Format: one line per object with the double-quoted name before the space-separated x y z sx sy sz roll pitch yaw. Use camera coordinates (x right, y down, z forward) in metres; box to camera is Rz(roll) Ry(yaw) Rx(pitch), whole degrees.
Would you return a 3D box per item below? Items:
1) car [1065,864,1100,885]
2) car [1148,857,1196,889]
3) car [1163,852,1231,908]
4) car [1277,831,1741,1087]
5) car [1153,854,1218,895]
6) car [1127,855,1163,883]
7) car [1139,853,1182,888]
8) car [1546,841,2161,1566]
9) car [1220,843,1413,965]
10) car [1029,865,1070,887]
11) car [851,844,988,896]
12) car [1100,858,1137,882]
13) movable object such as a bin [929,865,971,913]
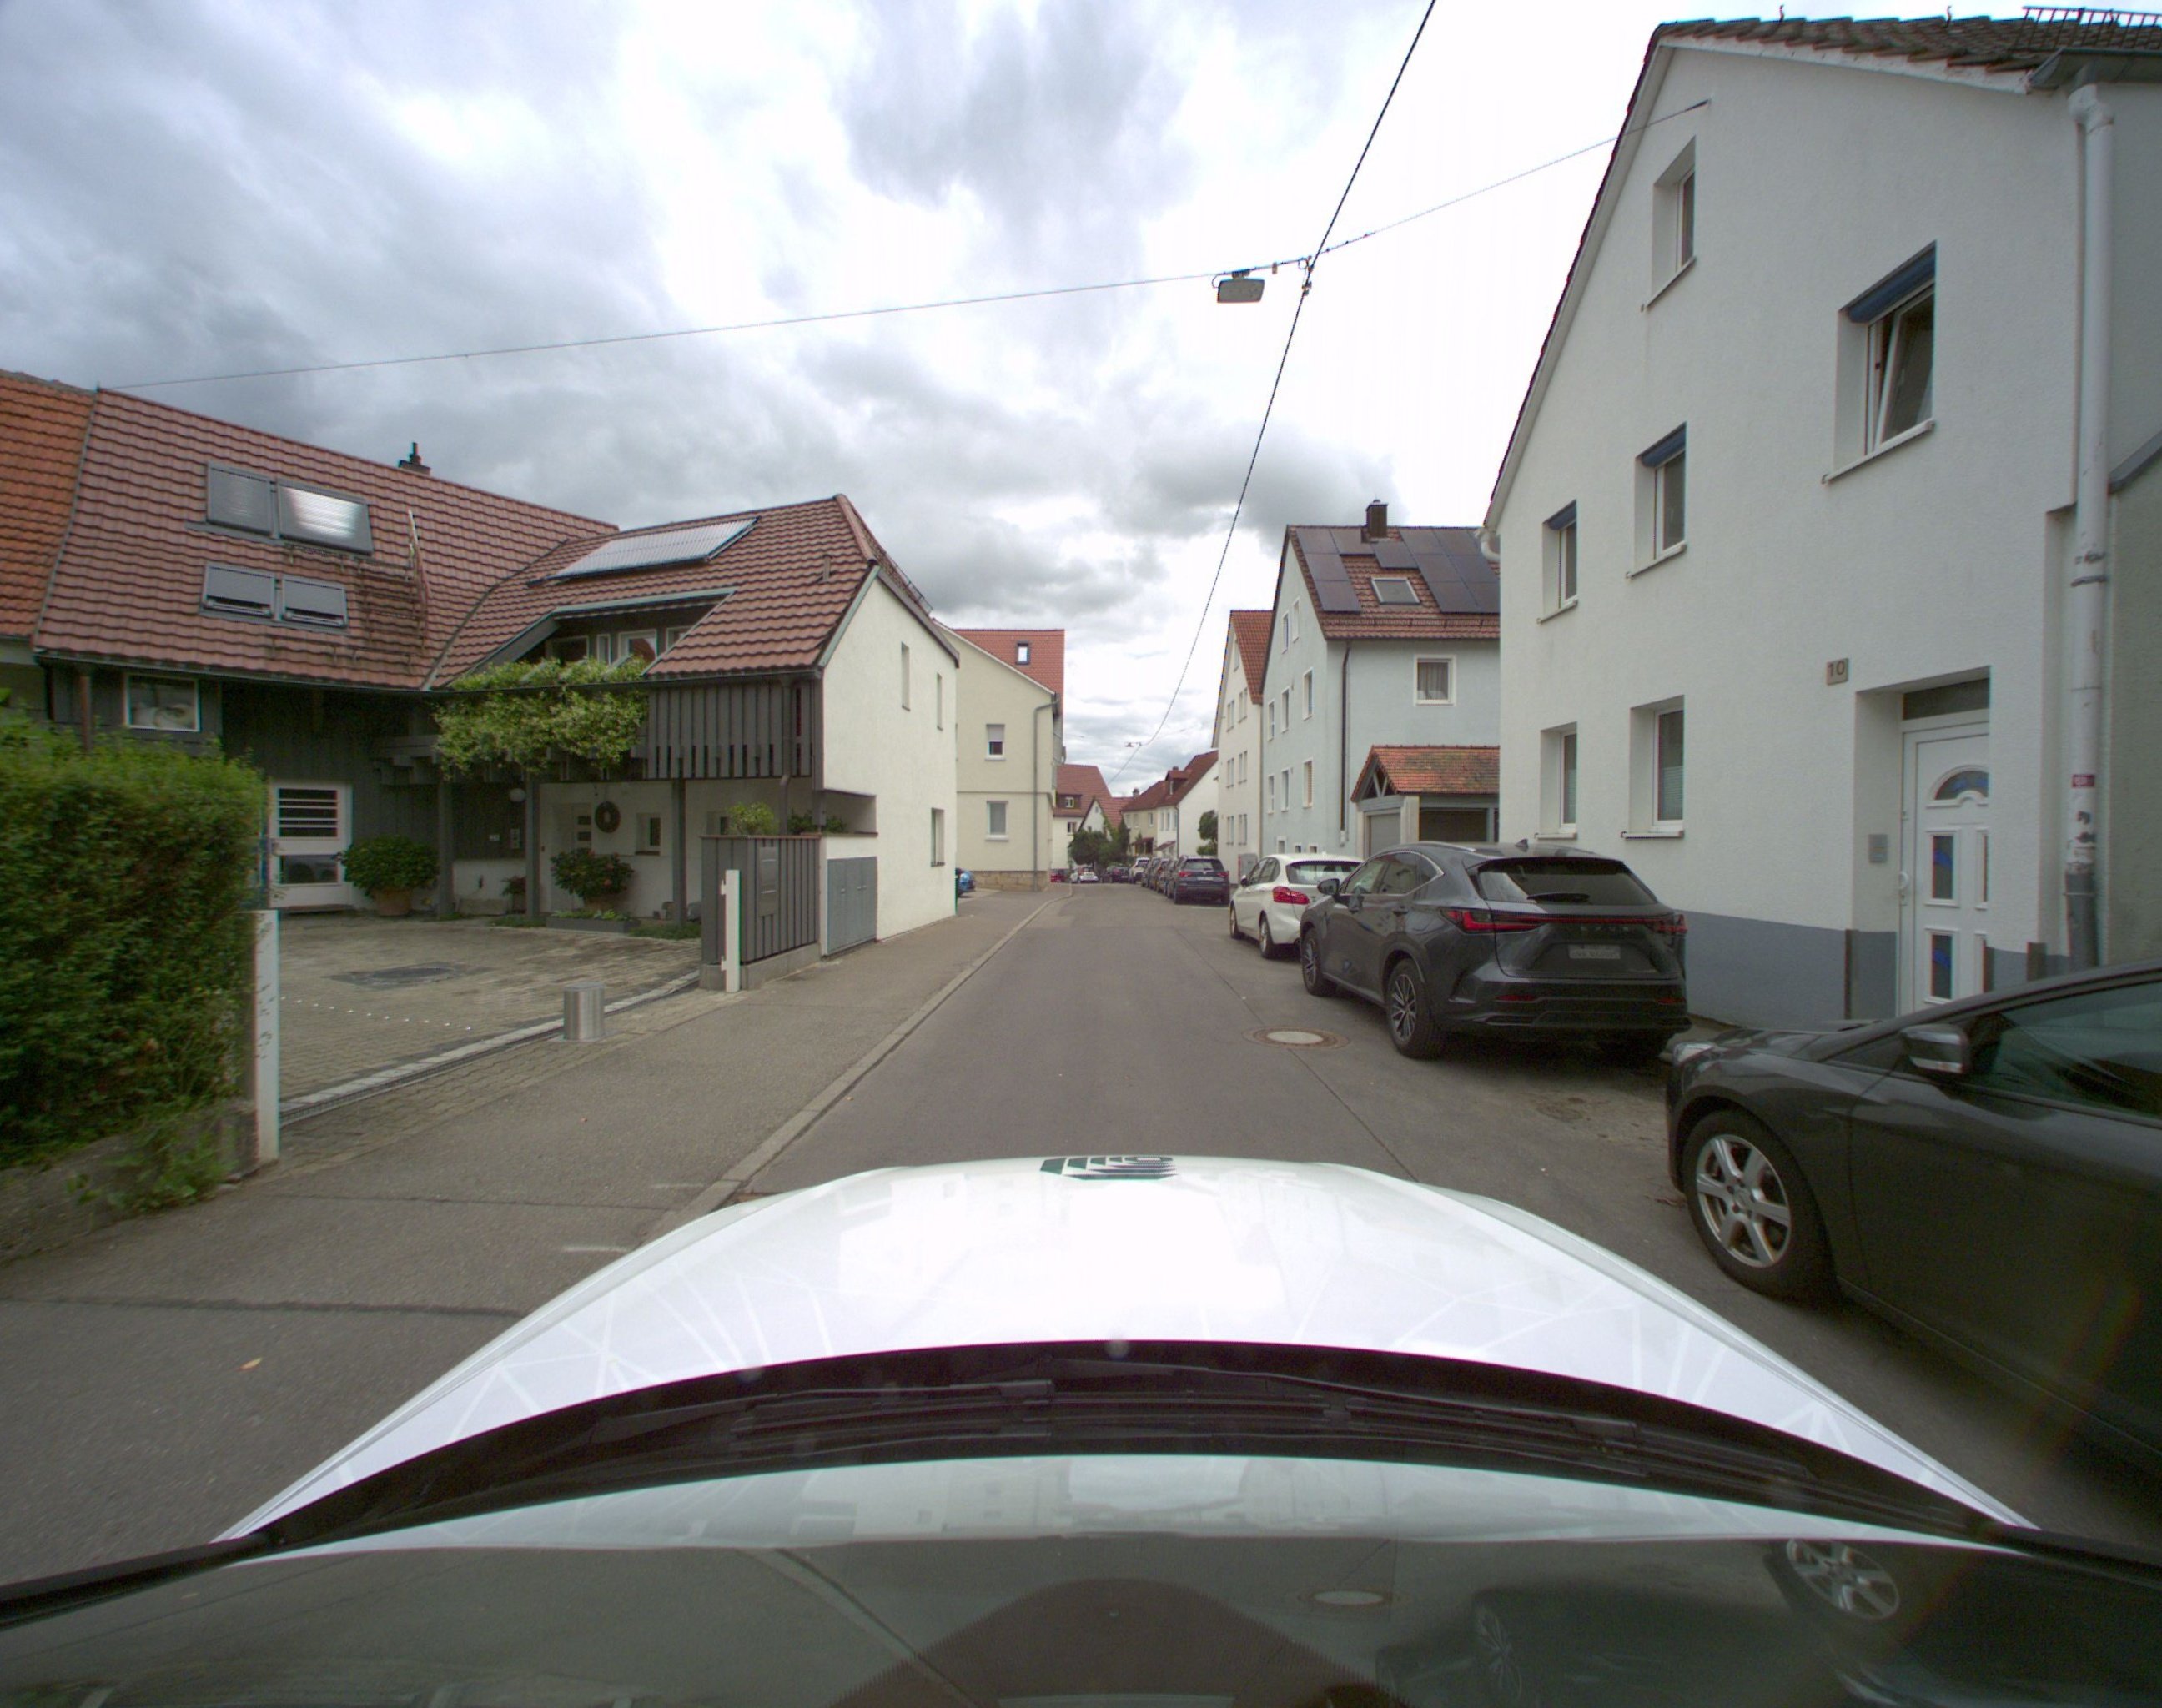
"car" 0.082 1.813 71.782 1.967 1.713 3.976 1 0 -18
"car" 4.035 0.858 36.667 1.790 1.352 4.075 0 -1 1
"car" 3.720 0.777 26.721 1.746 1.628 4.538 1 0 3
"car" 3.328 0.676 7.661 1.856 1.633 4.902 0 0 1
"car" 3.955 0.744 31.446 1.912 1.410 4.655 -1 0 0
"car" 4.055 0.963 52.045 1.868 1.713 4.144 0 -1 -2
"car" 4.040 0.838 42.008 1.731 1.610 3.998 3 -1 -1
"car" 3.226 0.738 1.678 1.940 1.508 4.823 1 0 2
"car" 3.625 0.671 13.544 1.985 1.615 4.882 1 0 3
"car" -3.028 2.115 77.209 2.008 1.683 3.957 -6 0 -34
"car" -5.065 0.508 25.866 3.712 1.411 2.123 3 -1 5
"car" 2.851 1.265 62.803 1.994 1.713 3.984 -1 -2 -11
"movable object such as a bin" -3.079 0.811 19.109 0.609 1.076 0.756 3 0 23
